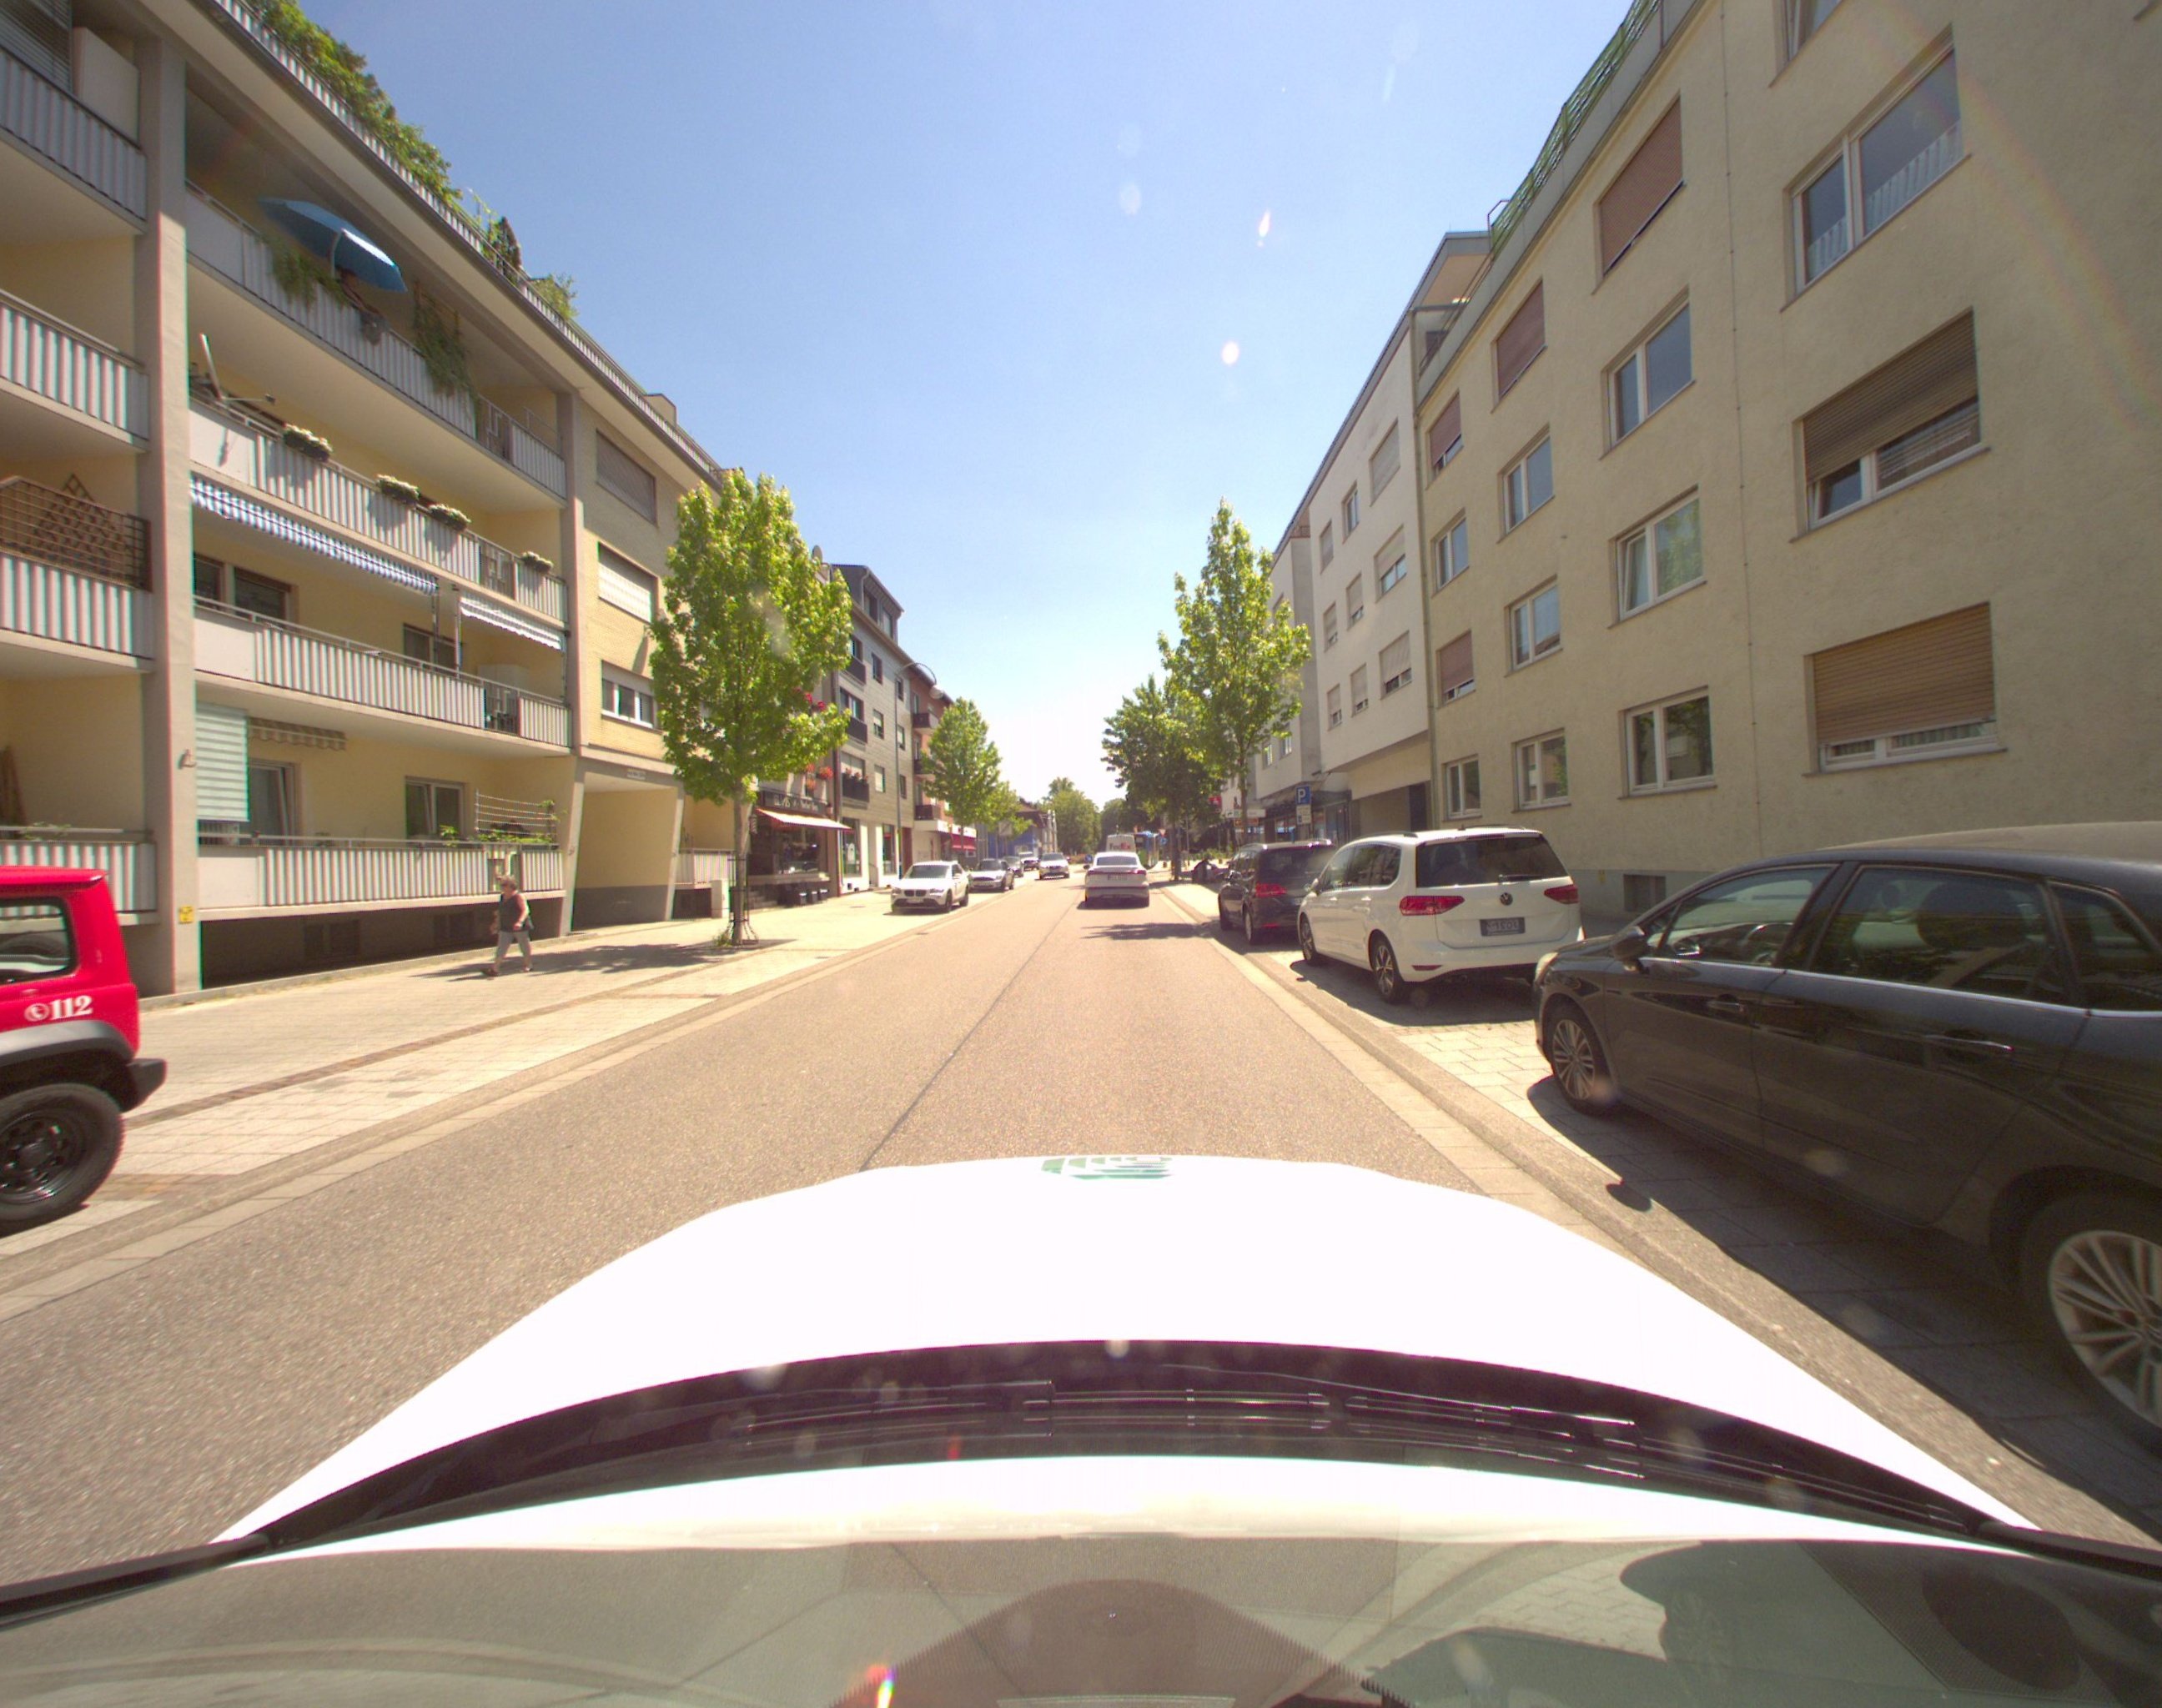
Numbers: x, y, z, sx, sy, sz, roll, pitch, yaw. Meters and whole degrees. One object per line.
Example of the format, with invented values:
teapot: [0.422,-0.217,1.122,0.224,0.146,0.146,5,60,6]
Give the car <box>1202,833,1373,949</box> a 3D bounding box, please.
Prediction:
car: [3.514,0.581,14.784,1.850,1.674,4.536,-3,0,0]

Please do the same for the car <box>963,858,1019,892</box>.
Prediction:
car: [-4.024,0.913,36.991,1.745,1.453,4.405,0,0,4]

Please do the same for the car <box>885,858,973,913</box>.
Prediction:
car: [-4.760,0.928,26.135,1.745,1.618,4.404,0,0,3]

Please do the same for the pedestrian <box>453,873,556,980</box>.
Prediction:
pedestrian: [-8.599,1.050,12.199,0.695,1.492,1.097,1,0,2]

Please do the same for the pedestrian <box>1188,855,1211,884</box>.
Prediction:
pedestrian: [5.320,0.686,36.505,0.903,1.236,0.648,-2,0,1]

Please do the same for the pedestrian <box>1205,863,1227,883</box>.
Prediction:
pedestrian: [5.963,0.838,36.013,0.901,0.879,0.649,-2,0,7]

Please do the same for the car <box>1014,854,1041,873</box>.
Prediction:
car: [-5.220,0.900,78.616,1.869,1.757,3.979,0,-1,-16]

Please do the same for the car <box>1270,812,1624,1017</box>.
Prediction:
car: [3.733,0.532,9.429,1.890,1.674,4.689,-3,0,0]

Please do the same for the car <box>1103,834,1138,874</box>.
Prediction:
car: [2.546,0.046,52.737,2.147,2.442,5.286,0,-1,2]

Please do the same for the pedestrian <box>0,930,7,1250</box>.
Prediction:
pedestrian: [-4.762,0.896,2.971,0.728,1.534,0.723,-2,0,-23]

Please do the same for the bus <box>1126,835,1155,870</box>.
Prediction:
bus: [5.634,-0.118,77.305,2.649,3.210,7.459,0,-1,4]

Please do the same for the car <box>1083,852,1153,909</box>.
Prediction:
car: [1.099,0.763,25.304,1.986,1.633,4.001,0,0,1]

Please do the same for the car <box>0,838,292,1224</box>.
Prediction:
car: [-5.668,0.774,2.829,1.746,1.702,4.103,0,0,2]

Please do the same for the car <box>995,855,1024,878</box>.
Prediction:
car: [-5.091,0.893,58.209,1.833,1.495,3.996,-2,0,-3]

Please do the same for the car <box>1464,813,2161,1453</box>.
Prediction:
car: [3.451,0.598,3.289,1.888,1.438,4.549,-2,0,4]

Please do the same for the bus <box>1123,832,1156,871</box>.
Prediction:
bus: [5.069,-0.180,69.942,2.648,3.221,7.310,0,-1,5]

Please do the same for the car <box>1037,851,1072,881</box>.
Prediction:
car: [-1.616,0.728,50.971,1.849,1.692,4.152,-3,0,2]

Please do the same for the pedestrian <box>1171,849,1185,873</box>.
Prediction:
pedestrian: [6.199,0.465,51.940,0.710,1.502,0.585,-2,-1,22]
